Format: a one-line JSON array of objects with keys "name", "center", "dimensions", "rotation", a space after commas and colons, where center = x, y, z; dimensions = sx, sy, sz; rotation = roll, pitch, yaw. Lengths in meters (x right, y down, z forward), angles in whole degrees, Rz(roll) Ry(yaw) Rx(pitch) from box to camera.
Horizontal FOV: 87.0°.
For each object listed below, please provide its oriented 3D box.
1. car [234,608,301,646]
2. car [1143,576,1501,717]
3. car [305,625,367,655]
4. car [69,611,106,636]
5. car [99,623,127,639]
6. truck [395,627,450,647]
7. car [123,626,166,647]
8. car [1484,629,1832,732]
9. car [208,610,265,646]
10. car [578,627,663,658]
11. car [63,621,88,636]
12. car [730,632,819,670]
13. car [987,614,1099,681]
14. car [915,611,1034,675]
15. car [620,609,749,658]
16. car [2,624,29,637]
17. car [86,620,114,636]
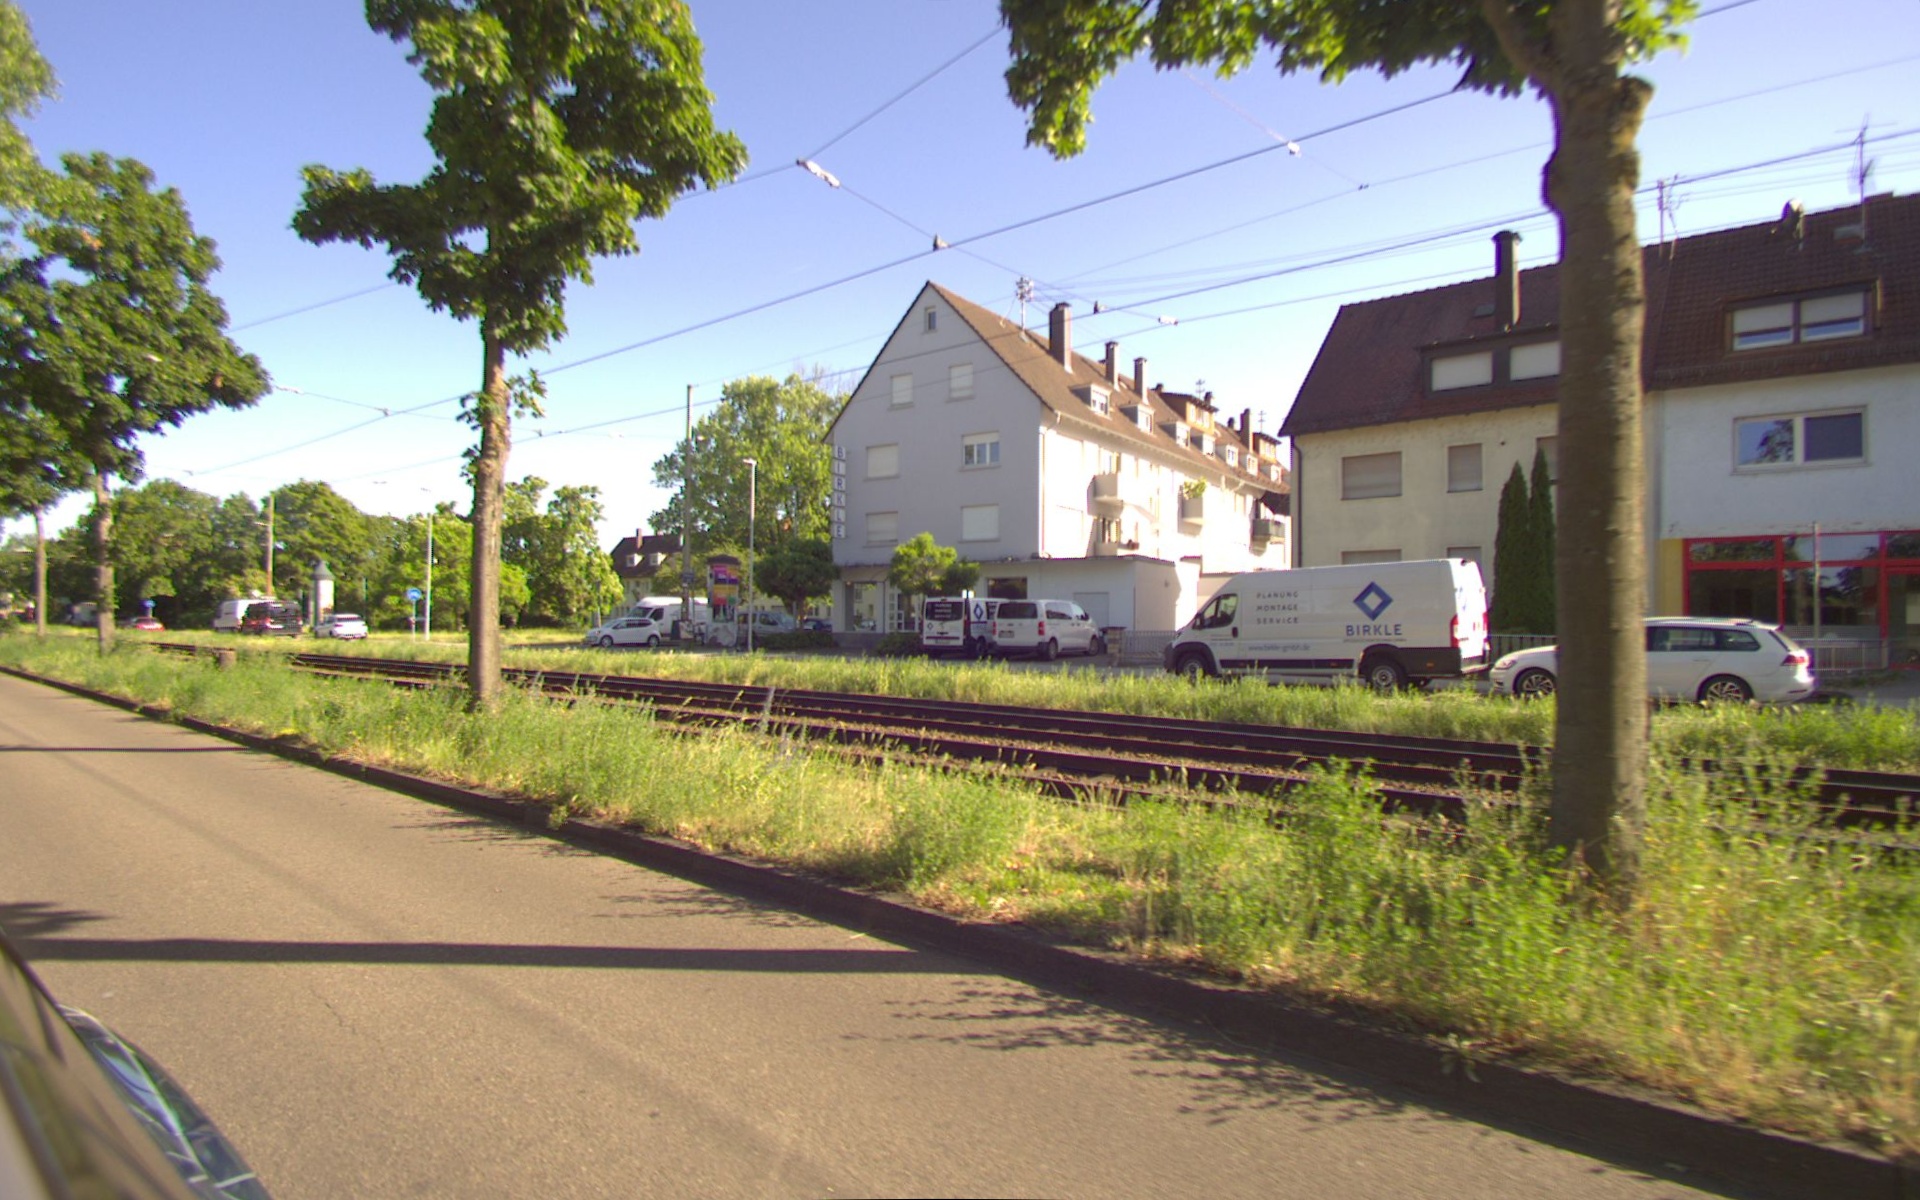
[{"name": "car", "center": [-46.336, 1.766, 67.630], "dimensions": [6.462, 2.394, 2.160], "rotation": [0, -1, 41]}, {"name": "car", "center": [7.185, 0.841, 20.791], "dimensions": [6.671, 2.478, 1.973], "rotation": [0, -1, 41]}, {"name": "car", "center": [-36.418, 2.288, 59.013], "dimensions": [4.772, 1.619, 1.804], "rotation": [0, -1, 42]}, {"name": "car", "center": [-95.632, 2.577, 110.875], "dimensions": [6.795, 2.600, 2.202], "rotation": [-1, -1, 41]}, {"name": "car", "center": [-84.671, 3.084, 101.136], "dimensions": [4.248, 1.596, 1.656], "rotation": [0, -1, 43]}, {"name": "truck", "center": [-56.000, 3.833, 105.486], "dimensions": [2.069, 1.883, 4.907], "rotation": [0, 0, 21]}, {"name": "car", "center": [-57.626, 2.550, 71.523], "dimensions": [3.998, 1.420, 1.659], "rotation": [-1, -2, 41]}, {"name": "car", "center": [11.593, 1.240, 17.048], "dimensions": [4.655, 1.423, 1.805], "rotation": [0, -1, 41]}, {"name": "car", "center": [-52.227, 1.962, 73.010], "dimensions": [6.133, 2.515, 1.981], "rotation": [0, -1, 41]}, {"name": "car", "center": [-16.681, 2.063, 49.753], "dimensions": [3.570, 1.489, 1.752], "rotation": [1, -2, -42]}, {"name": "car", "center": [-104.136, 3.340, 119.124], "dimensions": [4.282, 1.575, 1.748], "rotation": [0, -1, 43]}, {"name": "car", "center": [-8.905, 2.411, 48.421], "dimensions": [4.087, 1.683, 1.781], "rotation": [0, -1, 33]}, {"name": "car", "center": [2.705, 1.441, 32.182], "dimensions": [1.992, 1.967, 4.108], "rotation": [-1, -1, 30]}, {"name": "car", "center": [0.575, 1.361, 33.600], "dimensions": [1.992, 1.960, 4.585], "rotation": [-1, -1, 30]}, {"name": "car", "center": [-15.096, 1.792, 56.020], "dimensions": [2.326, 2.526, 7.002], "rotation": [-1, -1, 36]}, {"name": "car", "center": [-110.262, 3.554, 118.115], "dimensions": [3.750, 1.543, 1.972], "rotation": [-1, -2, 42]}, {"name": "car", "center": [-89.986, 2.909, 105.884], "dimensions": [4.530, 1.635, 1.605], "rotation": [0, -1, 41]}]
